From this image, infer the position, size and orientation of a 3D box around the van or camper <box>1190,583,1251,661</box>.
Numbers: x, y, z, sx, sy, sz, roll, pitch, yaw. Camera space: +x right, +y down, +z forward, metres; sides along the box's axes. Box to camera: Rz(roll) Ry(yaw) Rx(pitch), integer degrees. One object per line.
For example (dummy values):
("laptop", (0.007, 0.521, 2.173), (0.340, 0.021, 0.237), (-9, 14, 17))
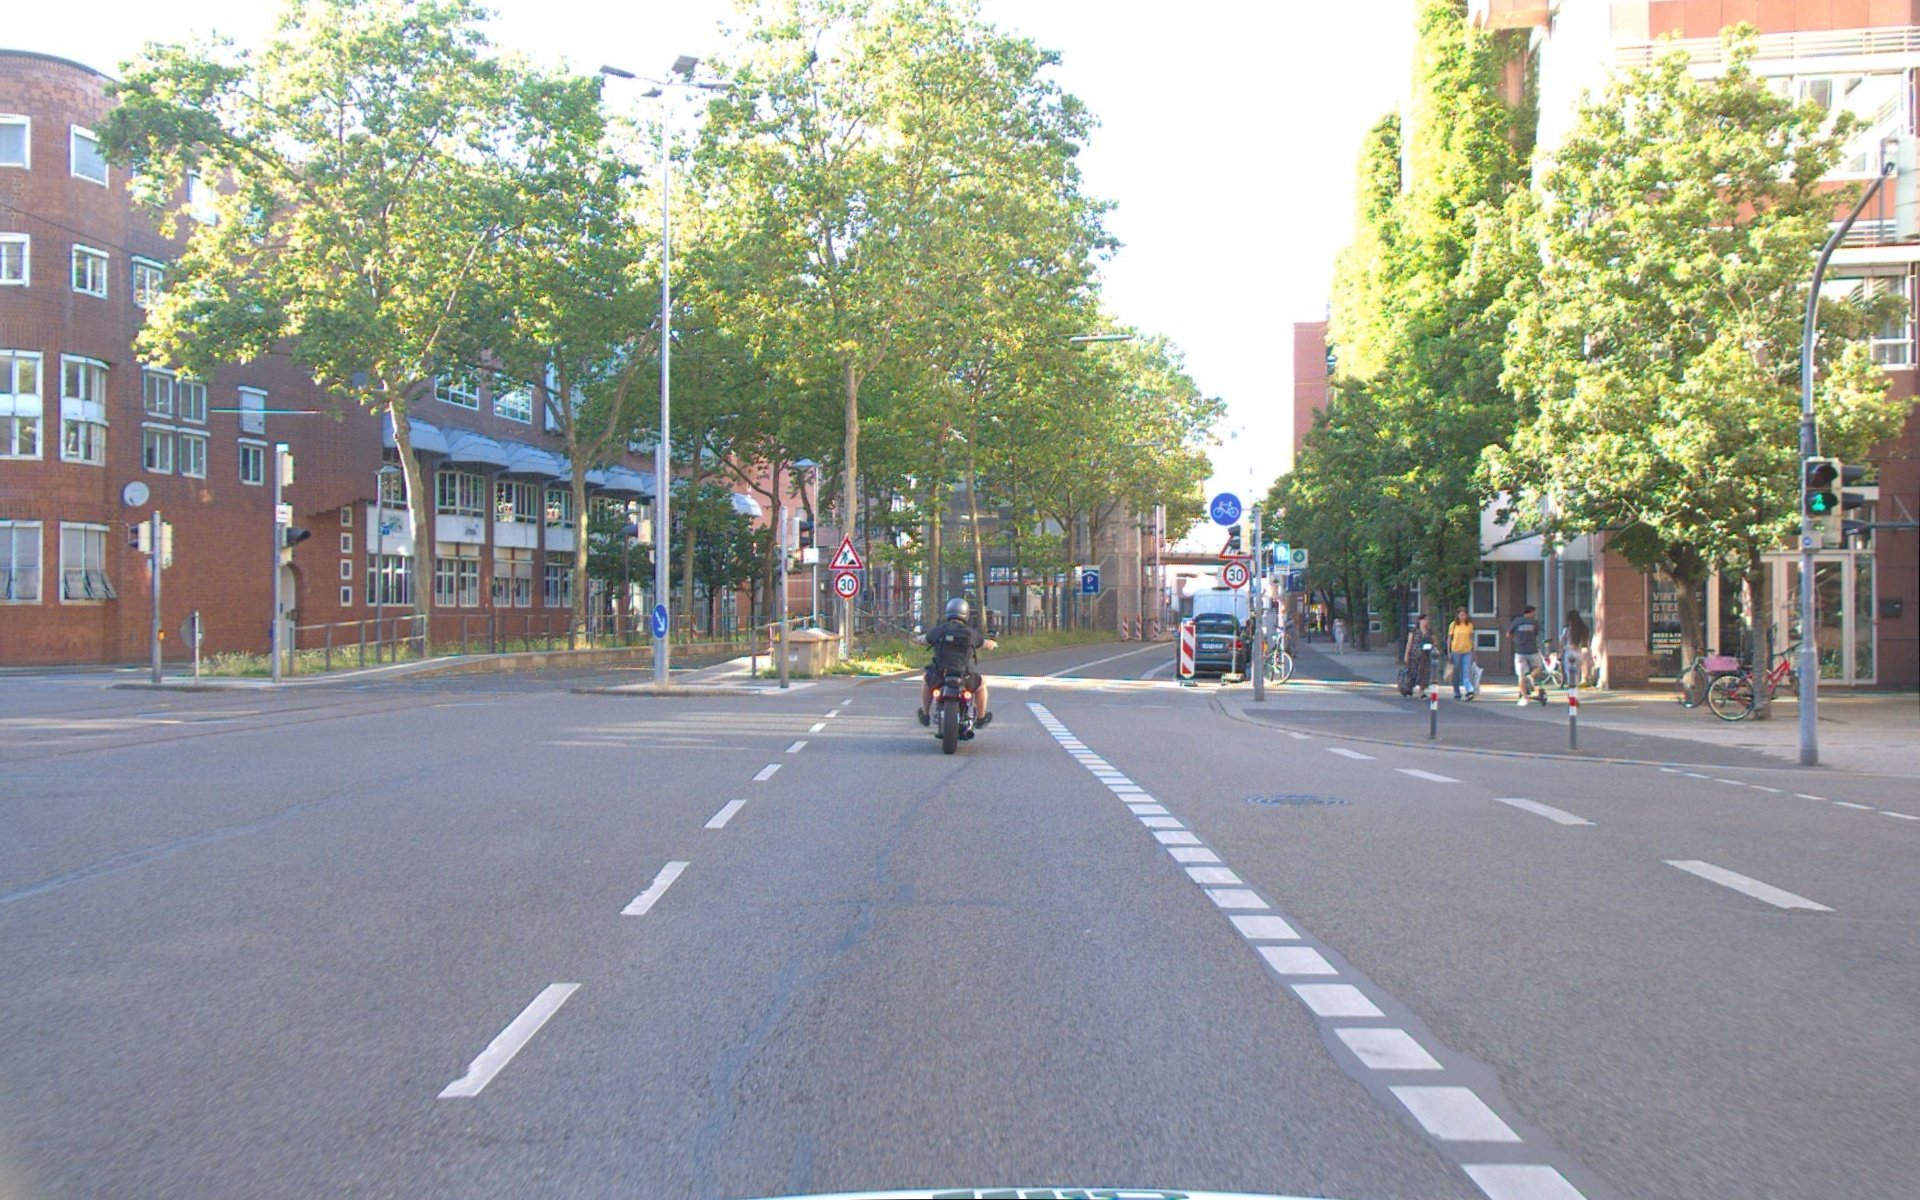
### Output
("van or camper", (9.189, 0.756, 58.077), (2.005, 2.585, 5.777), (0, -1, 10))

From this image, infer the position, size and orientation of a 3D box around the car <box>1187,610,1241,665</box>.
("car", (7.953, 1.145, 51.641), (1.585, 1.648, 4.489), (0, -1, 9))

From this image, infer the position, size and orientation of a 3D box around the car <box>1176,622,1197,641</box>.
("car", (21.066, 2.901, 153.841), (1.812, 1.747, 4.003), (0, -1, 6))

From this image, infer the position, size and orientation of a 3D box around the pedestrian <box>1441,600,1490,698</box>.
("pedestrian", (9.195, 0.884, 30.118), (0.685, 1.764, 0.768), (0, -1, 3))

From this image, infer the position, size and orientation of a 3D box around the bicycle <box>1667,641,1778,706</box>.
("bicycle", (13.151, 1.257, 28.538), (1.712, 1.071, 0.738), (0, -1, 27))

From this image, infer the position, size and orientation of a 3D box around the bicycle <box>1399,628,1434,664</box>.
("bicycle", (13.678, 1.371, 49.564), (0.604, 1.038, 1.914), (0, 0, 2))

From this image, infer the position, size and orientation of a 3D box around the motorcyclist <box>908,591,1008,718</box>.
("motorcyclist", (-0.012, 0.567, 17.602), (0.991, 1.285, 0.774), (2, 0, 2))

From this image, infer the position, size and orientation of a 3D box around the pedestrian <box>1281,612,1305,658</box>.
("pedestrian", (12.076, 1.277, 60.003), (0.747, 1.673, 0.547), (0, -1, 2))

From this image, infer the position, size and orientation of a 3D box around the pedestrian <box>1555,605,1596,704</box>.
("pedestrian", (10.759, 0.942, 28.903), (0.450, 1.702, 0.680), (0, -1, -1))

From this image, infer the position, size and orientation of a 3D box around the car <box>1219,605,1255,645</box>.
("car", (14.625, 1.296, 87.409), (1.796, 2.049, 4.391), (0, -1, 9))

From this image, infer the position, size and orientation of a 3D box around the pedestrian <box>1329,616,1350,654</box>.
("pedestrian", (14.874, 1.372, 64.854), (0.749, 1.471, 0.781), (1, -1, 8))

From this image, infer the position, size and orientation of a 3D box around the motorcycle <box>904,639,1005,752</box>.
("motorcycle", (-0.030, 0.984, 17.589), (0.997, 1.116, 2.008), (0, -1, 2))

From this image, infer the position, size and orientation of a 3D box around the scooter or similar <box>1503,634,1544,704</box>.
("scooter or similar", (9.880, 1.203, 29.017), (0.386, 1.178, 1.250), (0, -1, 6))

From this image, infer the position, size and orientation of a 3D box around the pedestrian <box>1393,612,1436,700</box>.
("pedestrian", (8.348, 1.017, 30.391), (0.630, 1.606, 0.748), (0, -1, 3))

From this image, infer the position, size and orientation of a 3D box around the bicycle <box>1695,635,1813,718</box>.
("bicycle", (12.244, 1.171, 25.525), (1.534, 1.248, 0.578), (0, -1, 5))

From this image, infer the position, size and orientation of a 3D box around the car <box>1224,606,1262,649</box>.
("car", (13.896, 1.351, 81.322), (1.796, 2.049, 4.391), (0, -1, 9))

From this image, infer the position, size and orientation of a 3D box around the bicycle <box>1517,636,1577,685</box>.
("bicycle", (11.974, 1.222, 33.781), (0.721, 0.956, 1.753), (0, 0, 4))

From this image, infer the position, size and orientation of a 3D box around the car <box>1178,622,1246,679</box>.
("car", (6.296, 1.226, 41.468), (1.585, 1.325, 4.315), (0, -1, 8))

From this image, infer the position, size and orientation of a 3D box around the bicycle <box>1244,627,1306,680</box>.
("bicycle", (6.567, 1.101, 34.510), (0.723, 1.071, 1.748), (0, 0, -9))

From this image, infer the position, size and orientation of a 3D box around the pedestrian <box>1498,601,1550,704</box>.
("pedestrian", (9.919, 0.911, 29.114), (0.769, 1.794, 0.610), (0, -1, 11))
